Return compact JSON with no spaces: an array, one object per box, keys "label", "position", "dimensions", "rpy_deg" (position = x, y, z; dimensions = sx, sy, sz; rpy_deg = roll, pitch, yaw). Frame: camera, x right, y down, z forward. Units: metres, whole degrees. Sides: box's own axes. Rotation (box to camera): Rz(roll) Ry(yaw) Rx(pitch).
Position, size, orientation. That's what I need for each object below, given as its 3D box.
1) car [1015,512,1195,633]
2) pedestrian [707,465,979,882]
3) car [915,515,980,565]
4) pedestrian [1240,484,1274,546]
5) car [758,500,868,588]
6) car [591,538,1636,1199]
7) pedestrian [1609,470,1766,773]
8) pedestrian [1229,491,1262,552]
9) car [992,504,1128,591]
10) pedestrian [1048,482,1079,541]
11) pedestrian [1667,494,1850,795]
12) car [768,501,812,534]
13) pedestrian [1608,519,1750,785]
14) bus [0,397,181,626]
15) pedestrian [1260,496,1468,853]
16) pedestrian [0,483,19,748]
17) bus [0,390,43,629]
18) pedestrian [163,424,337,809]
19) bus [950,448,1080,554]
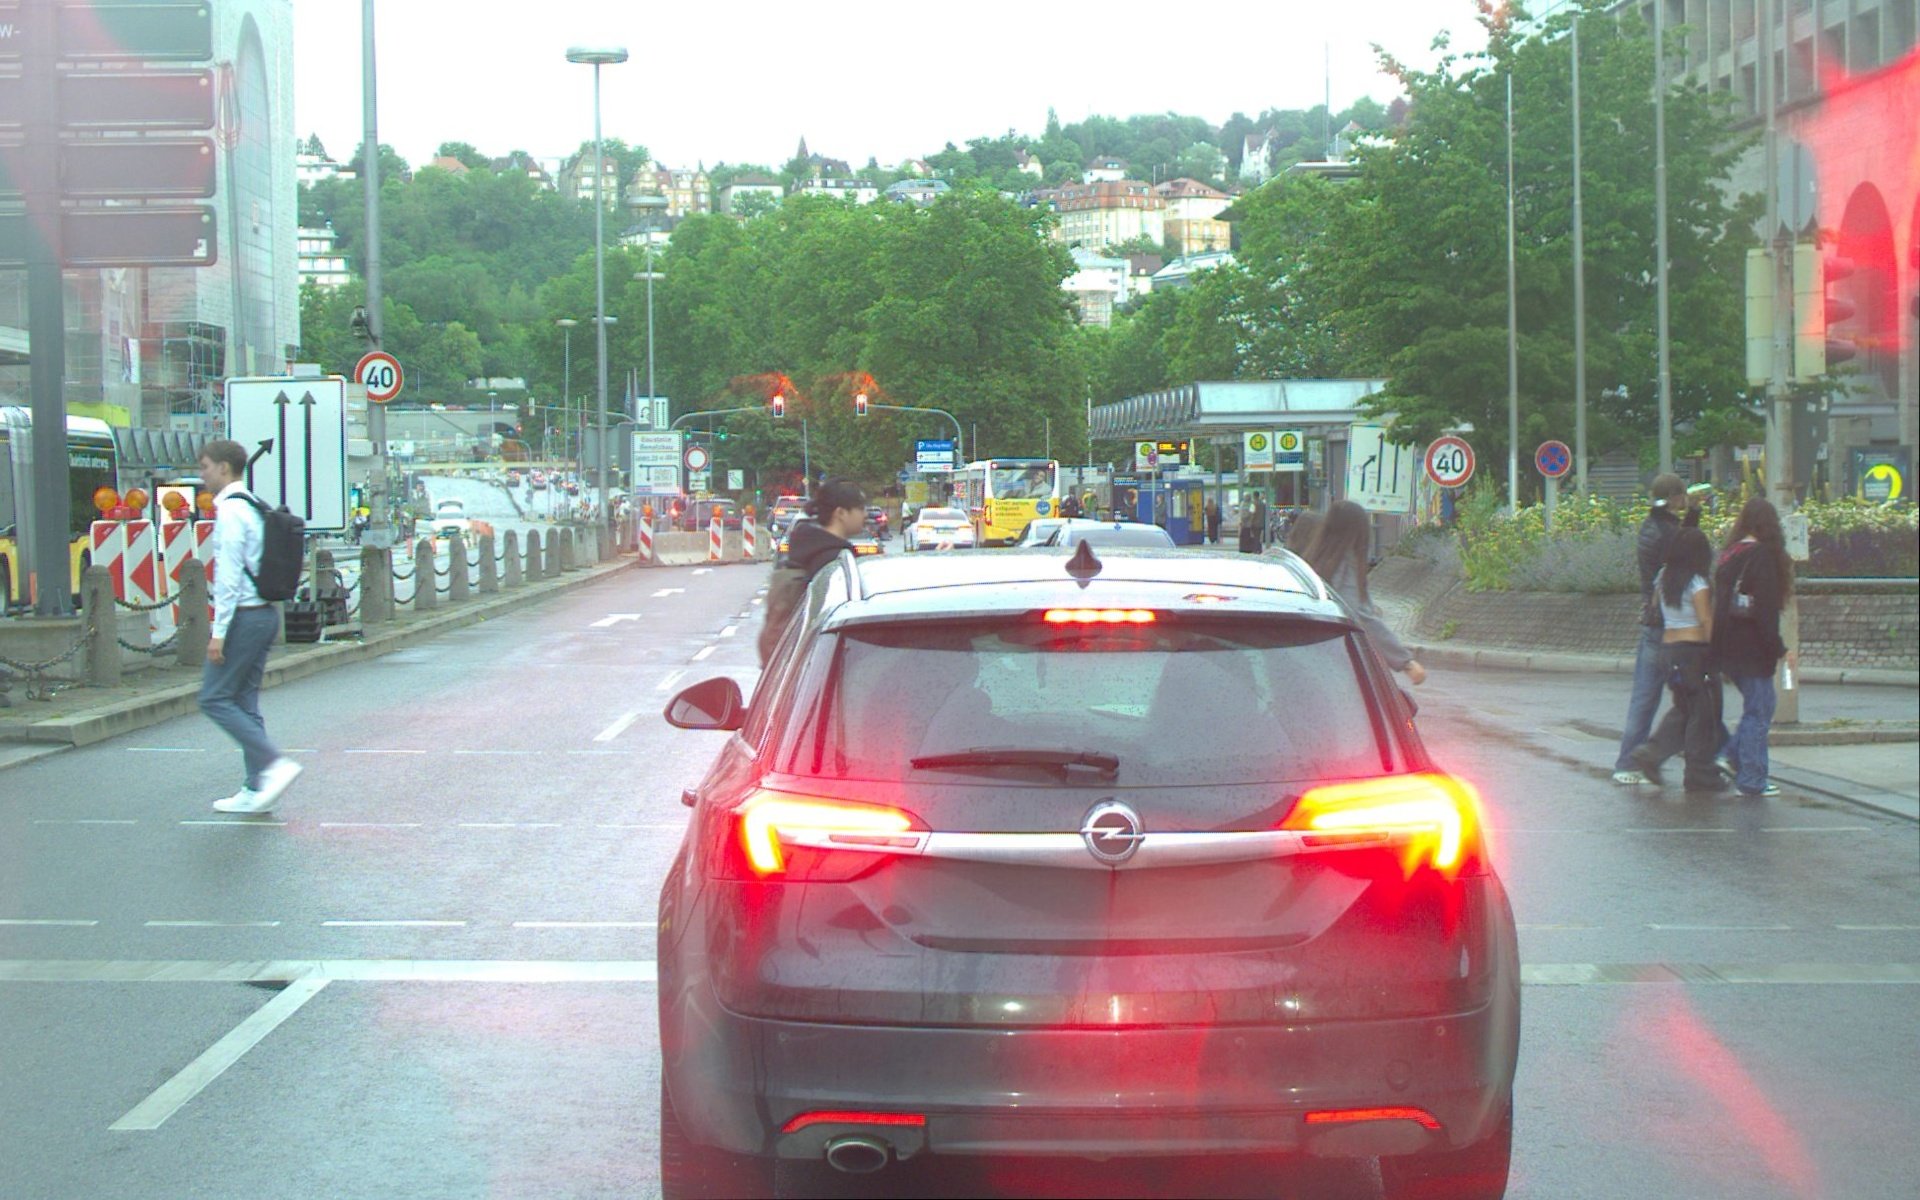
[{"label":"car","position":[1.724,-0.358,42.409],"dimensions":[1.753,1.393,4.649],"rpy_deg":[1,1,-3]},{"label":"pedestrian","position":[-0.518,0.309,15.062],"dimensions":[1.096,1.745,0.654],"rpy_deg":[-2,1,-3]},{"label":"car","position":[-0.373,-1.740,99.789],"dimensions":[1.845,1.393,3.564],"rpy_deg":[1,1,-1]},{"label":"pedestrian","position":[8.163,-2.325,94.564],"dimensions":[0.763,1.684,0.825],"rpy_deg":[1,1,-5]},{"label":"car","position":[-2.461,-0.945,57.995],"dimensions":[1.753,1.393,4.538],"rpy_deg":[1,1,-2]},{"label":"car","position":[0.239,0.612,8.223],"dimensions":[1.874,1.481,4.000],"rpy_deg":[1,1,-1]},{"label":"pedestrian","position":[4.173,0.120,19.731],"dimensions":[0.755,1.711,0.466],"rpy_deg":[1,1,-4]},{"label":"pedestrian","position":[7.964,-2.185,95.866],"dimensions":[0.763,1.684,0.825],"rpy_deg":[1,1,-5]},{"label":"car","position":[1.644,-0.886,58.043],"dimensions":[1.753,1.393,4.403],"rpy_deg":[1,1,-5]},{"label":"pedestrian","position":[4.314,-3.696,143.448],"dimensions":[1.199,2.427,1.228],"rpy_deg":[1,1,1]},{"label":"pedestrian","position":[4.335,0.235,18.698],"dimensions":[0.799,1.603,0.620],"rpy_deg":[1,1,-4]},{"label":"car","position":[-7.443,-3.623,150.657],"dimensions":[1.759,1.393,3.564],"rpy_deg":[1,1,-1]},{"label":"pedestrian","position":[4.022,0.287,19.255],"dimensions":[0.678,1.469,0.366],"rpy_deg":[1,1,-5]},{"label":"bus","position":[-15.851,-1.487,59.112],"dimensions":[2.668,3.589,10.212],"rpy_deg":[1,1,-1]},{"label":"pedestrian","position":[1.885,0.334,16.161],"dimensions":[0.793,1.620,0.900],"rpy_deg":[1,1,-4]},{"label":"pedestrian","position":[-6.131,0.081,20.399],"dimensions":[0.872,1.555,0.787],"rpy_deg":[0,1,-29]},{"label":"bus","position":[-15.726,-1.336,48.927],"dimensions":[2.668,3.589,10.240],"rpy_deg":[1,1,-1]},{"label":"pedestrian","position":[-3.541,0.079,17.193],"dimensions":[0.798,1.884,0.620],"rpy_deg":[1,1,-9]},{"label":"bus","position":[1.798,-3.408,121.445],"dimensions":[4.173,3.457,14.655],"rpy_deg":[1,1,-1]}]
